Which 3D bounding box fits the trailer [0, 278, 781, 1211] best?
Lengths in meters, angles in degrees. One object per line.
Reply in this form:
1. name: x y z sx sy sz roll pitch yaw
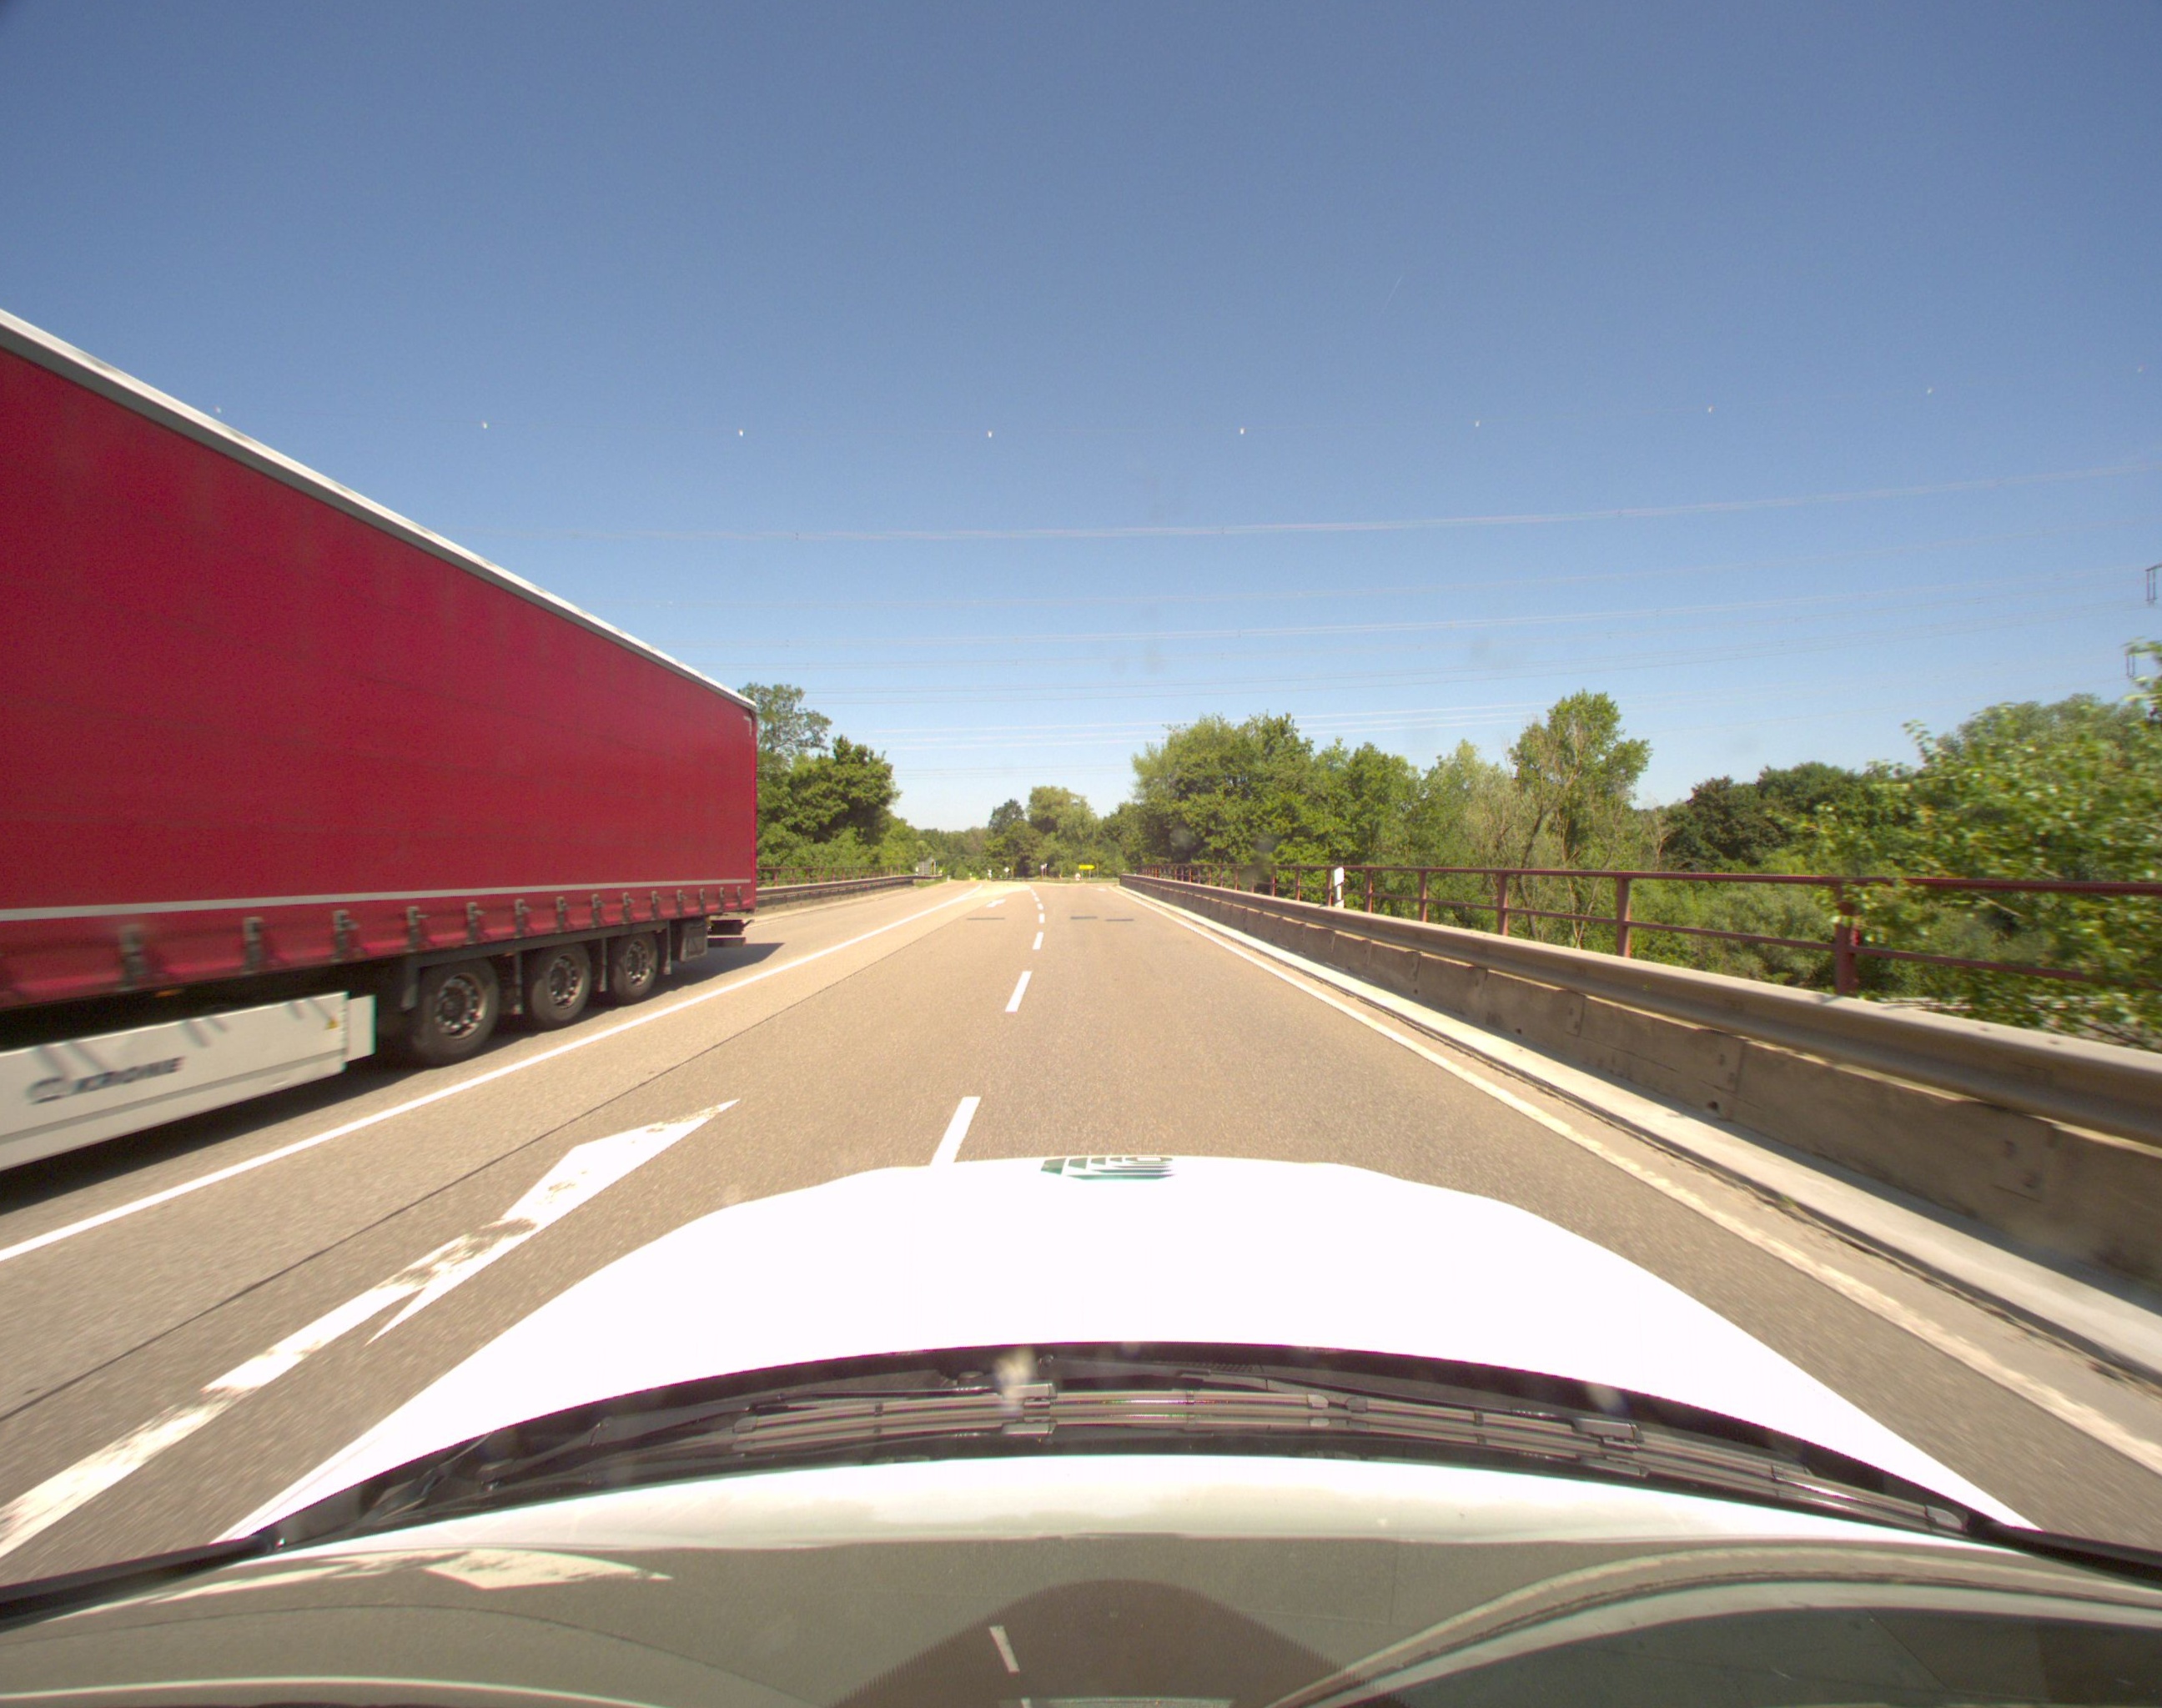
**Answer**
1. trailer: -6.109 -0.442 5.870 2.760 4.062 14.193 -1 0 -1
